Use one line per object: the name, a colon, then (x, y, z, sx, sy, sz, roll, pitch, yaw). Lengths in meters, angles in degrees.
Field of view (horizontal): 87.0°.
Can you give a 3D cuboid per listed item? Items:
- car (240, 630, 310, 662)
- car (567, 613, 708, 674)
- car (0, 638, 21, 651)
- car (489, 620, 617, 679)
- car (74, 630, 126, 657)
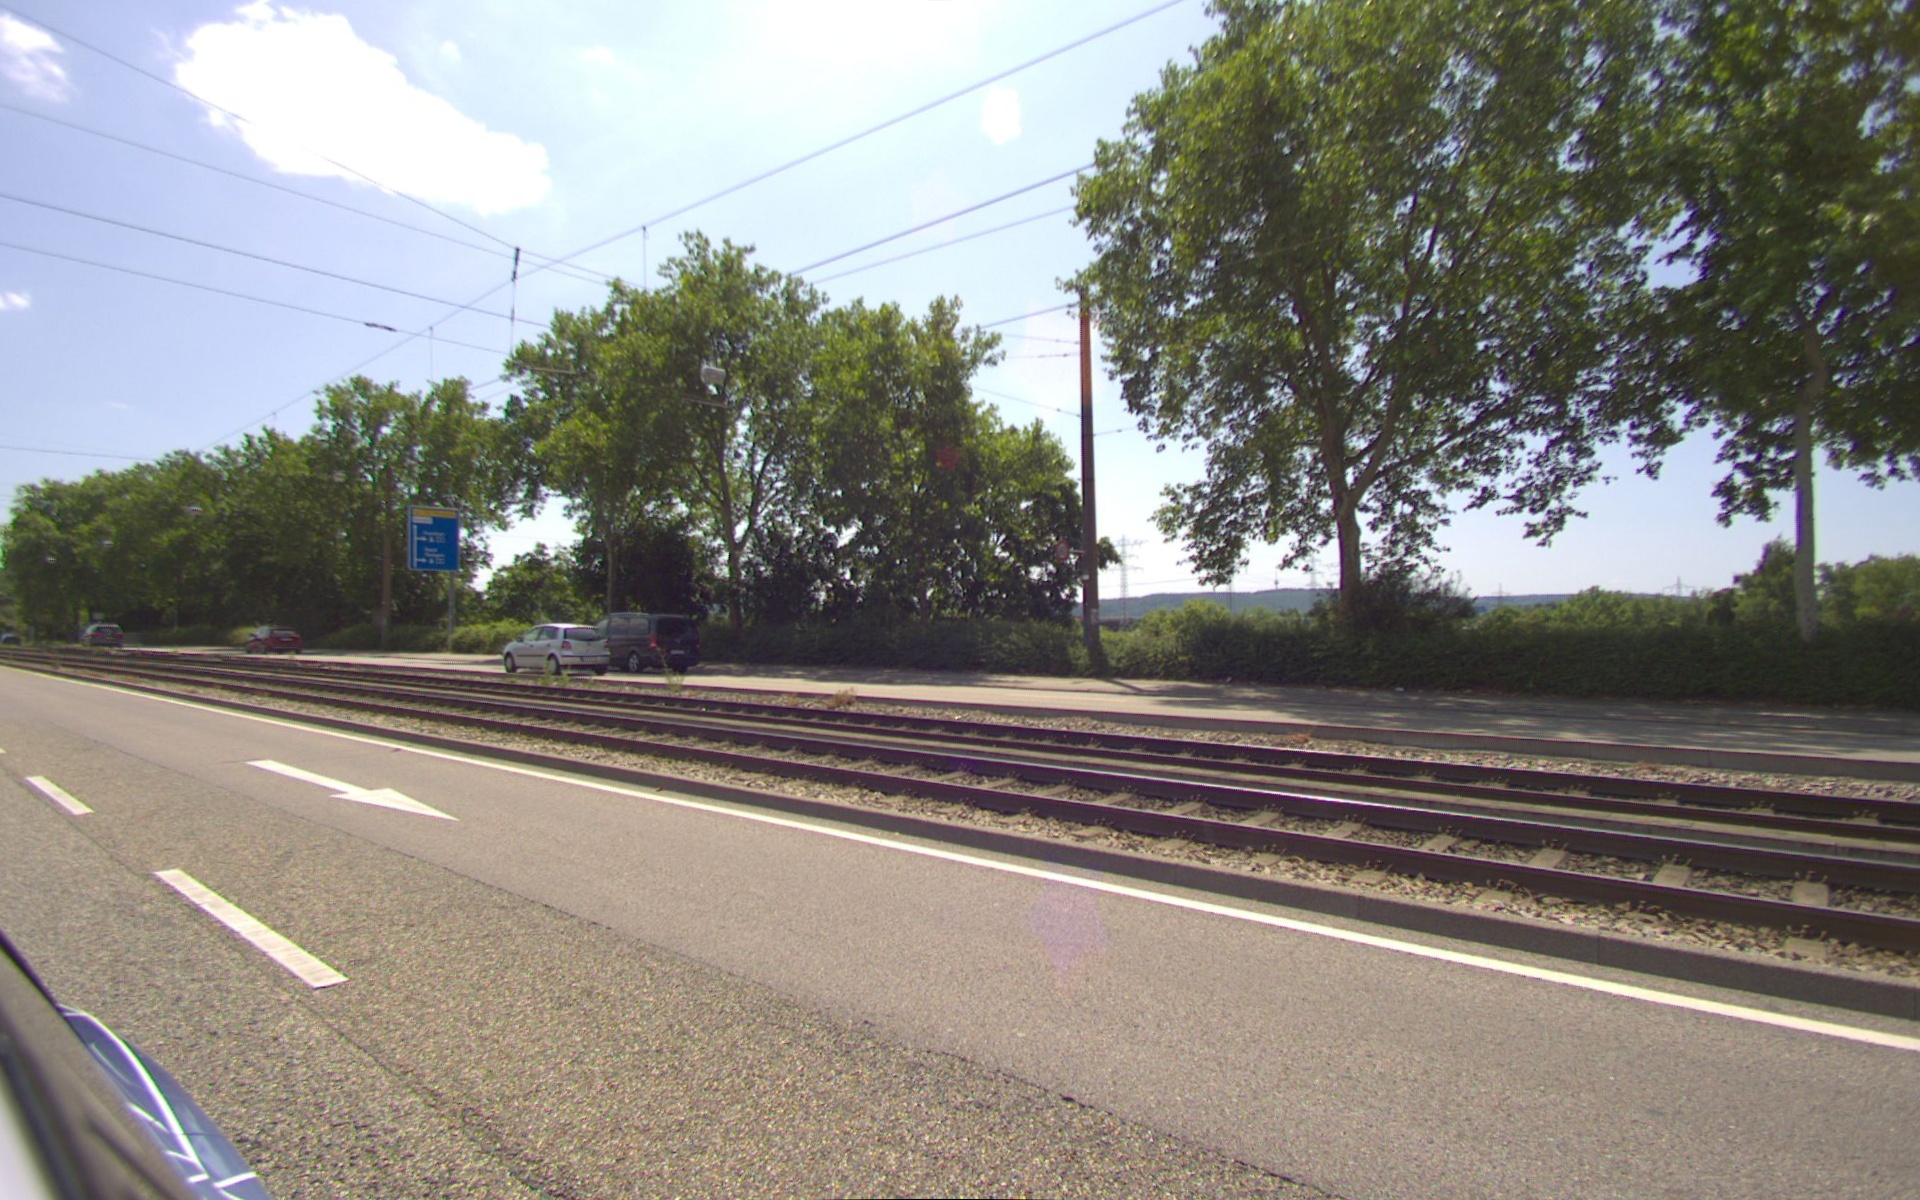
car: (-37.788, 2.537, 55.781, 4.464, 1.683, 1.973, -2, -4, 40)
car: (-10.524, 1.424, 32.877, 4.965, 1.845, 1.973, -2, -4, 40)
car: (-117.841, 5.537, 125.258, 4.731, 1.515, 1.780, -2, -4, 40)
car: (-11.790, 1.433, 29.240, 4.055, 1.596, 1.668, -2, -5, 40)
car: (-61.820, 3.144, 72.733, 4.965, 1.845, 1.973, -2, -4, 40)
